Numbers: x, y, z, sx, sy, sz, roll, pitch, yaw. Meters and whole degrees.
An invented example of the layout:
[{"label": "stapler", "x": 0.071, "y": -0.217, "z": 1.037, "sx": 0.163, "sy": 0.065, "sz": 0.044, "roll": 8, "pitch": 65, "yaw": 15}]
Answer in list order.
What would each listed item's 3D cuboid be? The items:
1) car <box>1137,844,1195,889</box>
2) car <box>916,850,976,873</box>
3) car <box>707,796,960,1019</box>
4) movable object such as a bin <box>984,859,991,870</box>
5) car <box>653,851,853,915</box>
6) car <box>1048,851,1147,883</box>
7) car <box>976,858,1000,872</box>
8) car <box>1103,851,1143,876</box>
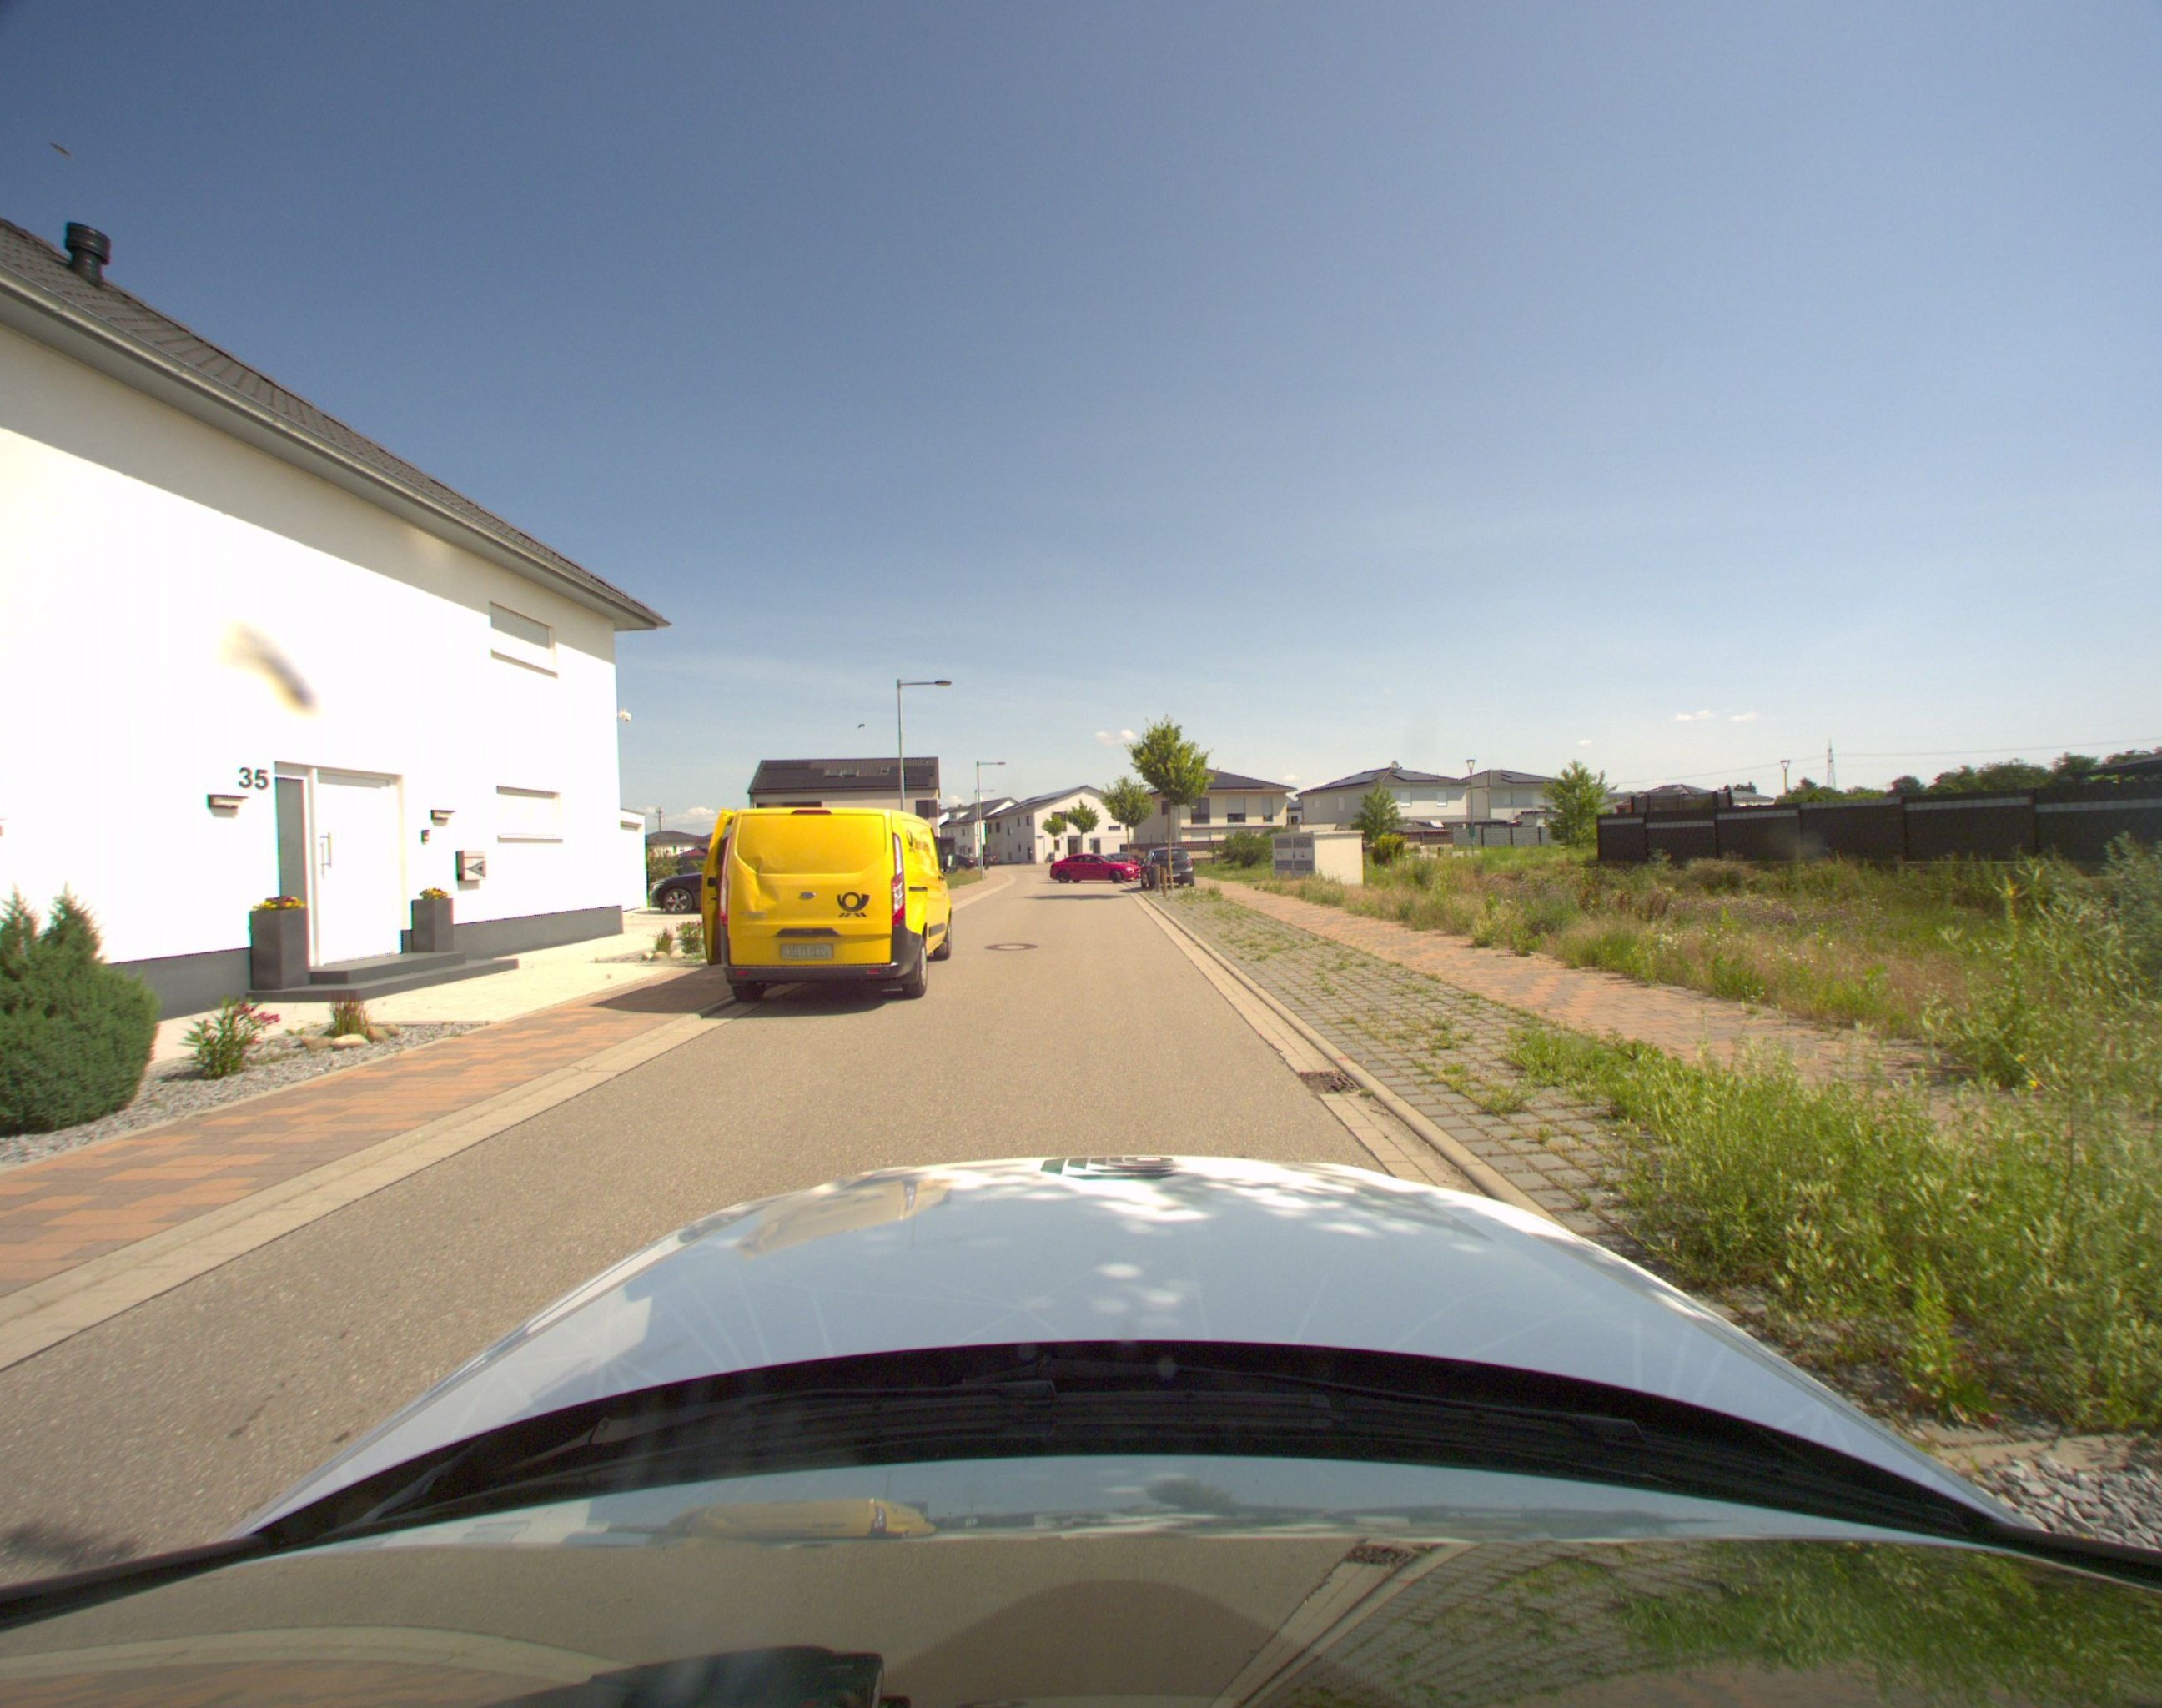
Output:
[{"label": "car", "x": 3.066, "y": 0.424, "z": 29.874, "sx": 1.594, "sy": 1.475, "sz": 3.673, "roll": -4, "pitch": 0, "yaw": -1}, {"label": "car", "x": -9.976, "y": 0.546, "z": 60.398, "sx": 4.374, "sy": 1.631, "sz": 1.765, "roll": 1, "pitch": 0, "yaw": -9}, {"label": "car", "x": -2.652, "y": 0.490, "z": 10.004, "sx": 1.880, "sy": 2.013, "sz": 4.834, "roll": -2, "pitch": 0, "yaw": -4}, {"label": "movable object such as a bin", "x": -8.111, "y": 0.926, "z": 70.898, "sx": 0.533, "sy": 0.936, "sz": 0.526, "roll": 0, "pitch": 0, "yaw": 0}, {"label": "car", "x": -8.047, "y": 0.675, "z": 20.380, "sx": 4.398, "sy": 1.452, "sz": 1.741, "roll": -1, "pitch": 0, "yaw": -14}, {"label": "car", "x": 0.805, "y": 0.636, "z": 39.629, "sx": 4.464, "sy": 1.438, "sz": 1.778, "roll": -1, "pitch": 0, "yaw": 24}, {"label": "car", "x": -10.414, "y": 1.235, "z": 90.609, "sx": 1.733, "sy": 1.422, "sz": 3.973, "roll": -3, "pitch": 0, "yaw": -20}, {"label": "car", "x": 2.462, "y": 0.538, "z": 48.808, "sx": 1.752, "sy": 1.363, "sz": 4.567, "roll": -1, "pitch": 0, "yaw": -5}]
